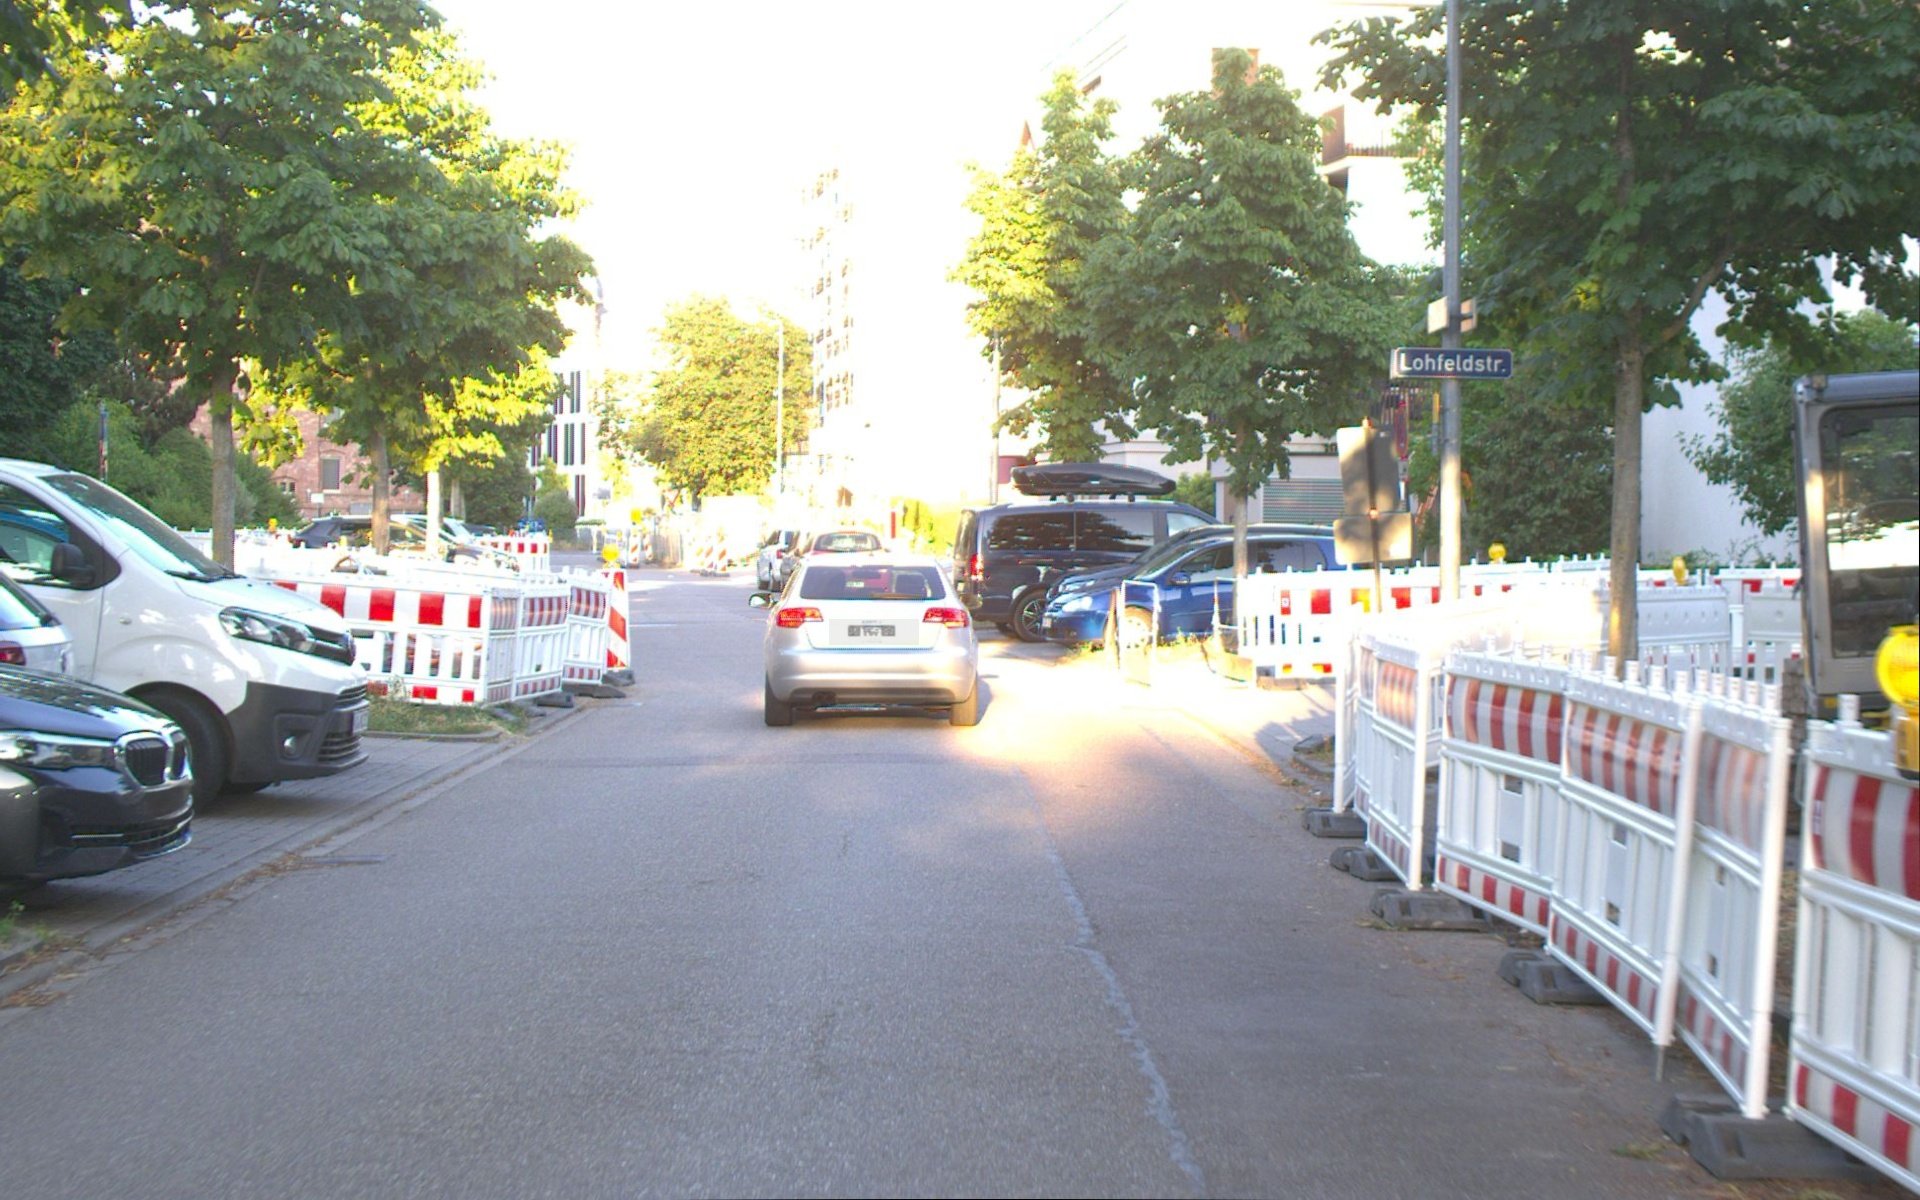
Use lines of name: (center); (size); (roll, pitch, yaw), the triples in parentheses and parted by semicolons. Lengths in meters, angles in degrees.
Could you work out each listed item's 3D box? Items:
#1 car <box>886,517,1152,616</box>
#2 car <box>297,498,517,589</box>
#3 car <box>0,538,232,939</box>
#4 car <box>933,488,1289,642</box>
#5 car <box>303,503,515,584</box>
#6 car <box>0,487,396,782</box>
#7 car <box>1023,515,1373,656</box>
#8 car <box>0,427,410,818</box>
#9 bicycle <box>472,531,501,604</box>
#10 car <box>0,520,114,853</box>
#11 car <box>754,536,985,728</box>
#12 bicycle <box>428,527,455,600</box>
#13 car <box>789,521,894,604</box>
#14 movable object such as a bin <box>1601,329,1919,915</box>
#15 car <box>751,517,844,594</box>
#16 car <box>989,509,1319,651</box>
car: (0.970, -0.568, 57.681); (4.148, 1.566, 1.798); (1, 2, -12)
car: (-10.357, -1.069, 64.448); (3.986, 1.620, 2.001); (1, 2, -9)
car: (-5.503, 0.427, 13.718); (4.771, 1.465, 1.881); (2, 1, -1)
car: (2.062, -0.493, 47.707); (4.555, 2.016, 2.102); (1, 2, -9)
car: (-10.701, -1.109, 66.812); (3.986, 1.475, 2.001); (-1, 2, -9)
car: (-5.665, 0.171, 21.619); (3.986, 1.746, 1.800); (1, 1, -3)
car: (2.941, -0.185, 42.790); (3.986, 1.645, 1.765); (1, 2, -12)
car: (-5.572, 0.065, 18.931); (4.771, 2.007, 2.000); (1, 1, -2)
bicycle: (-8.272, -0.581, 60.085); (0.406, 1.223, 1.988); (1, 2, -10)
car: (-5.954, 0.339, 16.316); (3.414, 1.478, 1.759); (1, 2, 1)
car: (-0.769, 0.213, 29.094); (1.807, 1.483, 4.001); (-1, 1, -2)
bicycle: (-9.053, -0.649, 59.958); (0.406, 1.223, 1.988); (1, 2, -10)
car: (-2.279, -0.731, 65.391); (1.730, 1.478, 3.558); (1, 2, -6)
movable object such as a bin: (5.045, 0.059, 15.878); (2.627, 2.394, 5.199); (1, 2, -7)
car: (-3.606, -0.995, 75.808); (1.808, 1.607, 3.582); (1, 2, -6)
car: (2.529, -0.277, 45.461); (3.986, 1.762, 2.001); (1, 2, -9)
